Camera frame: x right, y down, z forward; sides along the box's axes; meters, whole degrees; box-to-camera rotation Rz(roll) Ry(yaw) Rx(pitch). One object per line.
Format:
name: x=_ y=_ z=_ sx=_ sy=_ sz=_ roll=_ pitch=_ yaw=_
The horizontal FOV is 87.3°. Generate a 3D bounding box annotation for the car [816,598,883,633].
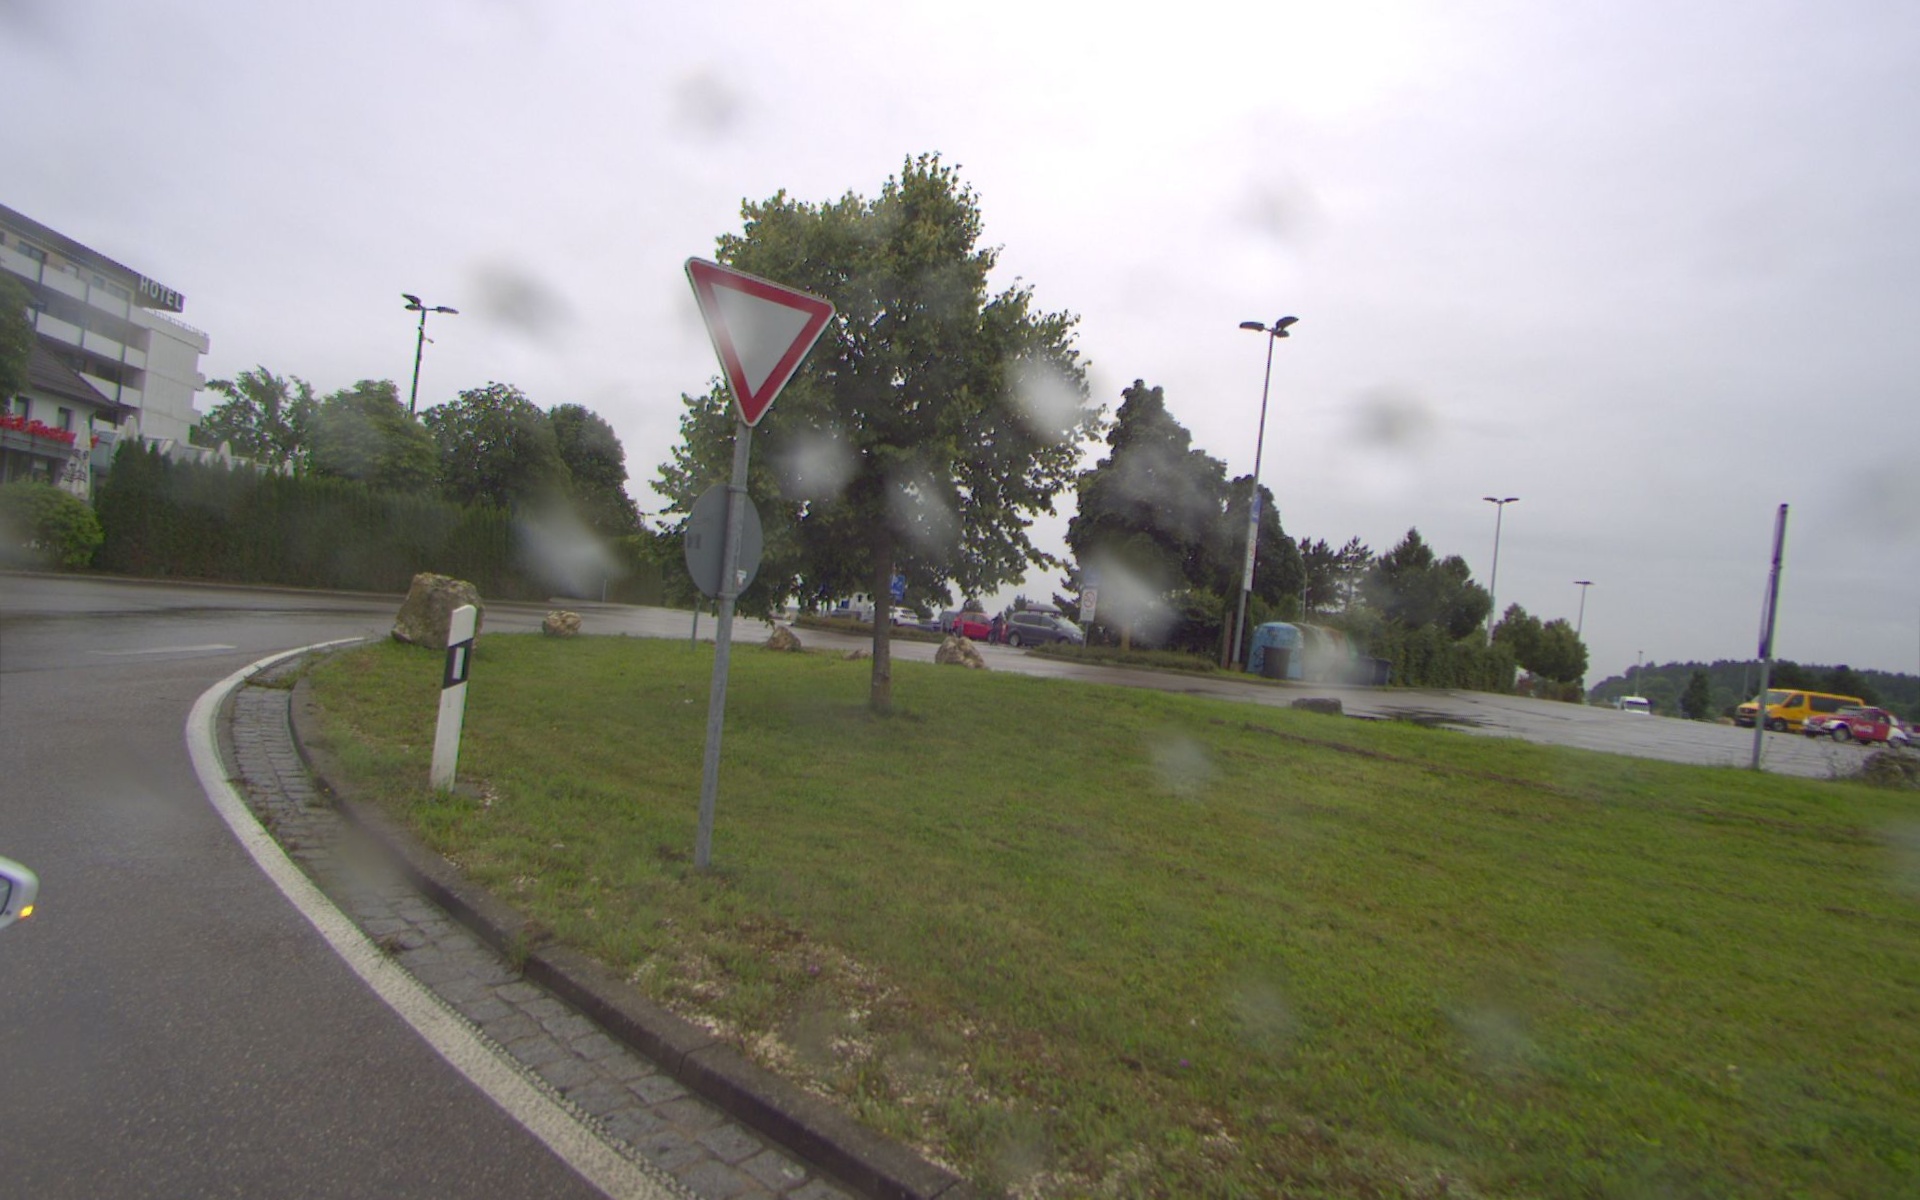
car: x=-6.924 y=0.973 z=62.832 sx=3.970 sy=1.735 sz=1.714 roll=4 pitch=-3 yaw=40

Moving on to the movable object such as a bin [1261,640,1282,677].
movable object such as a bin: x=8.550 y=1.591 z=27.597 sx=0.464 sy=0.961 sz=0.435 roll=6 pitch=1 yaw=18

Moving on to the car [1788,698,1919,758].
car: x=36.354 y=5.184 z=40.804 sx=3.928 sy=1.798 sz=1.828 roll=7 pitch=-1 yaw=-3

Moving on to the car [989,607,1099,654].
car: x=3.949 y=1.436 z=47.901 sx=4.881 sy=1.814 sz=1.991 roll=4 pitch=-1 yaw=40

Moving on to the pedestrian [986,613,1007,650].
pedestrian: x=1.739 y=1.495 z=47.687 sx=0.702 sy=1.657 sz=0.647 roll=5 pitch=-2 yaw=18

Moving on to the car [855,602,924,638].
car: x=-4.575 y=1.277 z=64.959 sx=4.307 sy=1.883 sz=1.714 roll=4 pitch=-3 yaw=40

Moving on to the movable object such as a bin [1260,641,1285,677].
movable object such as a bin: x=8.705 y=1.639 z=28.026 sx=0.442 sy=0.961 sz=0.405 roll=6 pitch=1 yaw=-6

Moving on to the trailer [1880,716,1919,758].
trailer: x=40.245 y=5.773 z=41.025 sx=3.927 sy=1.551 sz=1.700 roll=7 pitch=-1 yaw=-3

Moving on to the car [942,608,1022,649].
car: x=1.164 y=1.538 z=54.170 sx=3.967 sy=1.814 sz=1.842 roll=4 pitch=-1 yaw=40

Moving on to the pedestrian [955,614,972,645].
pedestrian: x=0.159 y=1.434 z=48.794 sx=0.633 sy=1.377 sz=0.452 roll=7 pitch=-2 yaw=0
